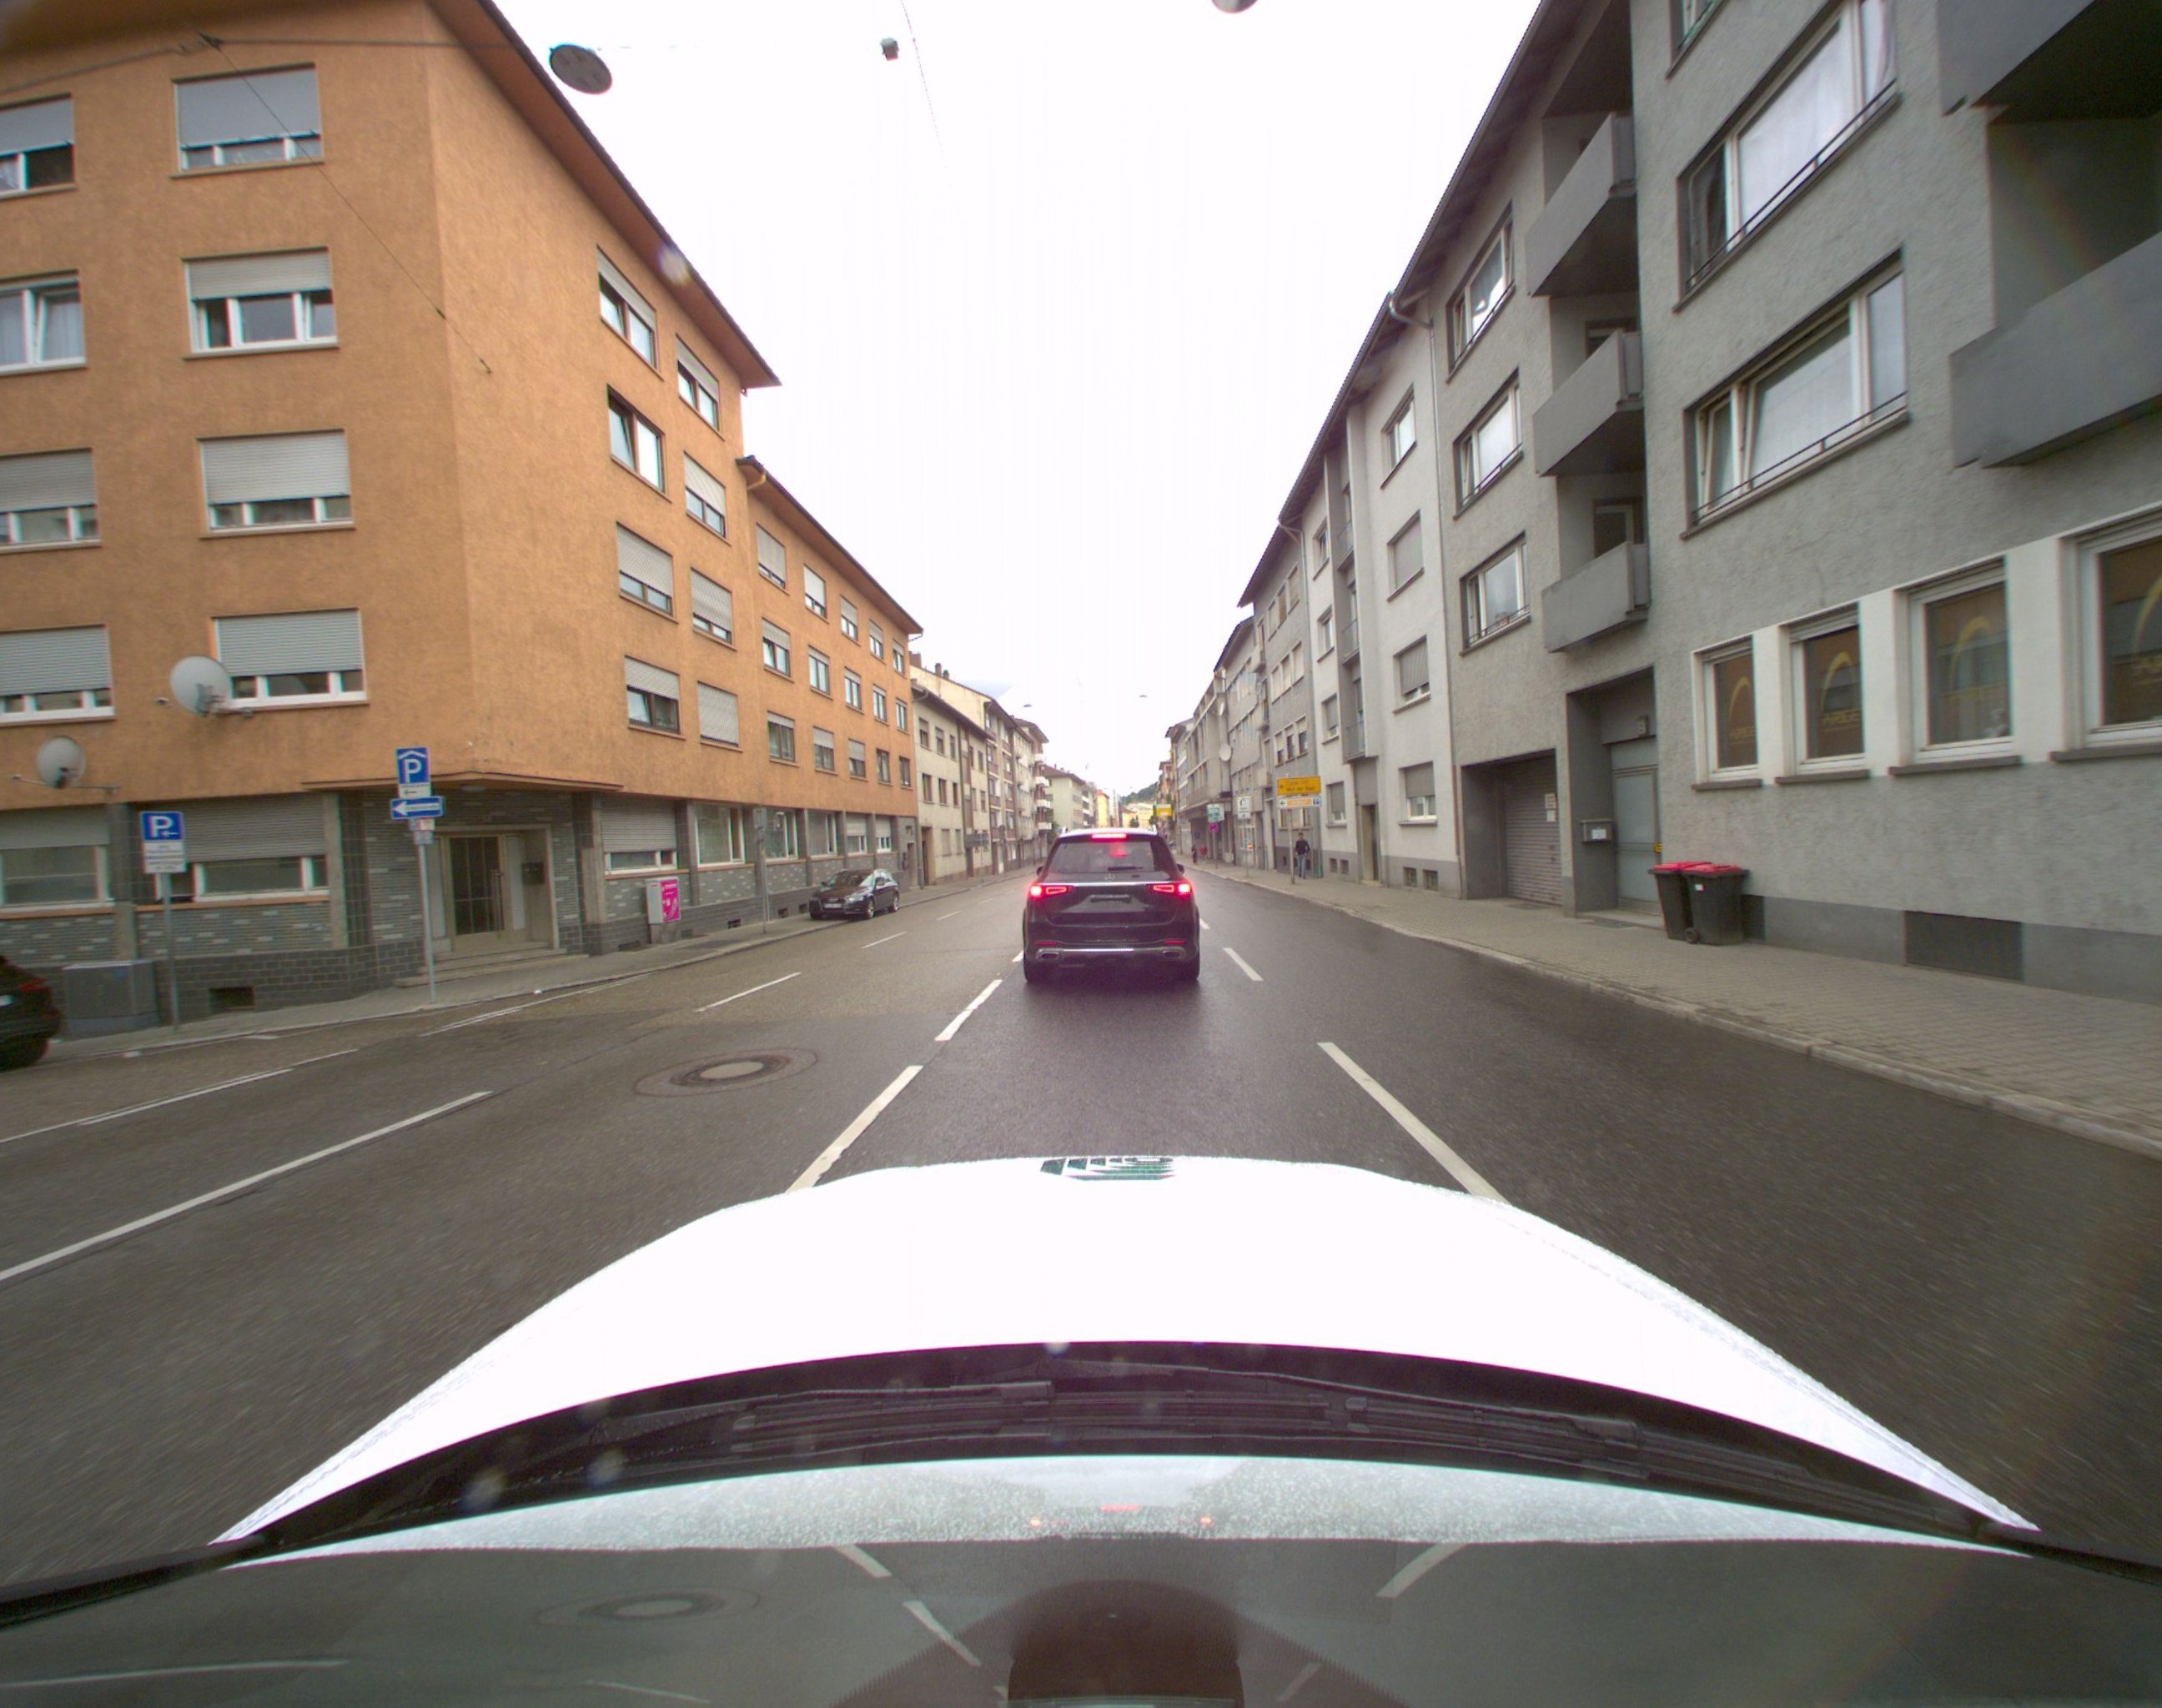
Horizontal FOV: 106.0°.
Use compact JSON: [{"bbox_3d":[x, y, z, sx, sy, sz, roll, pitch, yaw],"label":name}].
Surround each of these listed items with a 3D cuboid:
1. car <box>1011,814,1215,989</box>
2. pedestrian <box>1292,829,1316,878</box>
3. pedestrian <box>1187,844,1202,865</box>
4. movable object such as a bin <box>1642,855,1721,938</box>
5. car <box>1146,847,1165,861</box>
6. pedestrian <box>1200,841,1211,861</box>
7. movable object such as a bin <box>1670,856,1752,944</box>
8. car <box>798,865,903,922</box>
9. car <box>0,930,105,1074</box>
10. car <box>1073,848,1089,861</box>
[{"bbox_3d":[0.405,0.448,10.796,2.068,1.765,4.613,-2,1,2],"label":"car"},{"bbox_3d":[8.415,-0.025,30.745,0.652,1.752,0.743,-5,0,8],"label":"pedestrian"},{"bbox_3d":[9.039,0.034,64.781,0.823,1.565,0.894,-2,1,-19],"label":"pedestrian"},{"bbox_3d":[7.538,0.522,10.234,0.560,0.962,0.475,-6,0,5],"label":"movable object such as a bin"},{"bbox_3d":[7.957,-0.036,87.544,1.728,1.388,4.585,-2,1,2],"label":"car"},{"bbox_3d":[9.885,-0.253,64.710,0.817,1.565,0.901,-2,1,5],"label":"pedestrian"},{"bbox_3d":[7.494,0.531,9.702,0.471,0.962,0.565,-6,0,4],"label":"movable object such as a bin"},{"bbox_3d":[-7.111,1.178,25.696,1.884,1.458,4.550,-2,1,1],"label":"car"},{"bbox_3d":[-15.234,2.101,10.054,3.971,1.652,1.932,-7,0,2],"label":"car"},{"bbox_3d":[0.018,0.073,103.158,1.884,1.458,4.550,-2,1,1],"label":"car"}]
